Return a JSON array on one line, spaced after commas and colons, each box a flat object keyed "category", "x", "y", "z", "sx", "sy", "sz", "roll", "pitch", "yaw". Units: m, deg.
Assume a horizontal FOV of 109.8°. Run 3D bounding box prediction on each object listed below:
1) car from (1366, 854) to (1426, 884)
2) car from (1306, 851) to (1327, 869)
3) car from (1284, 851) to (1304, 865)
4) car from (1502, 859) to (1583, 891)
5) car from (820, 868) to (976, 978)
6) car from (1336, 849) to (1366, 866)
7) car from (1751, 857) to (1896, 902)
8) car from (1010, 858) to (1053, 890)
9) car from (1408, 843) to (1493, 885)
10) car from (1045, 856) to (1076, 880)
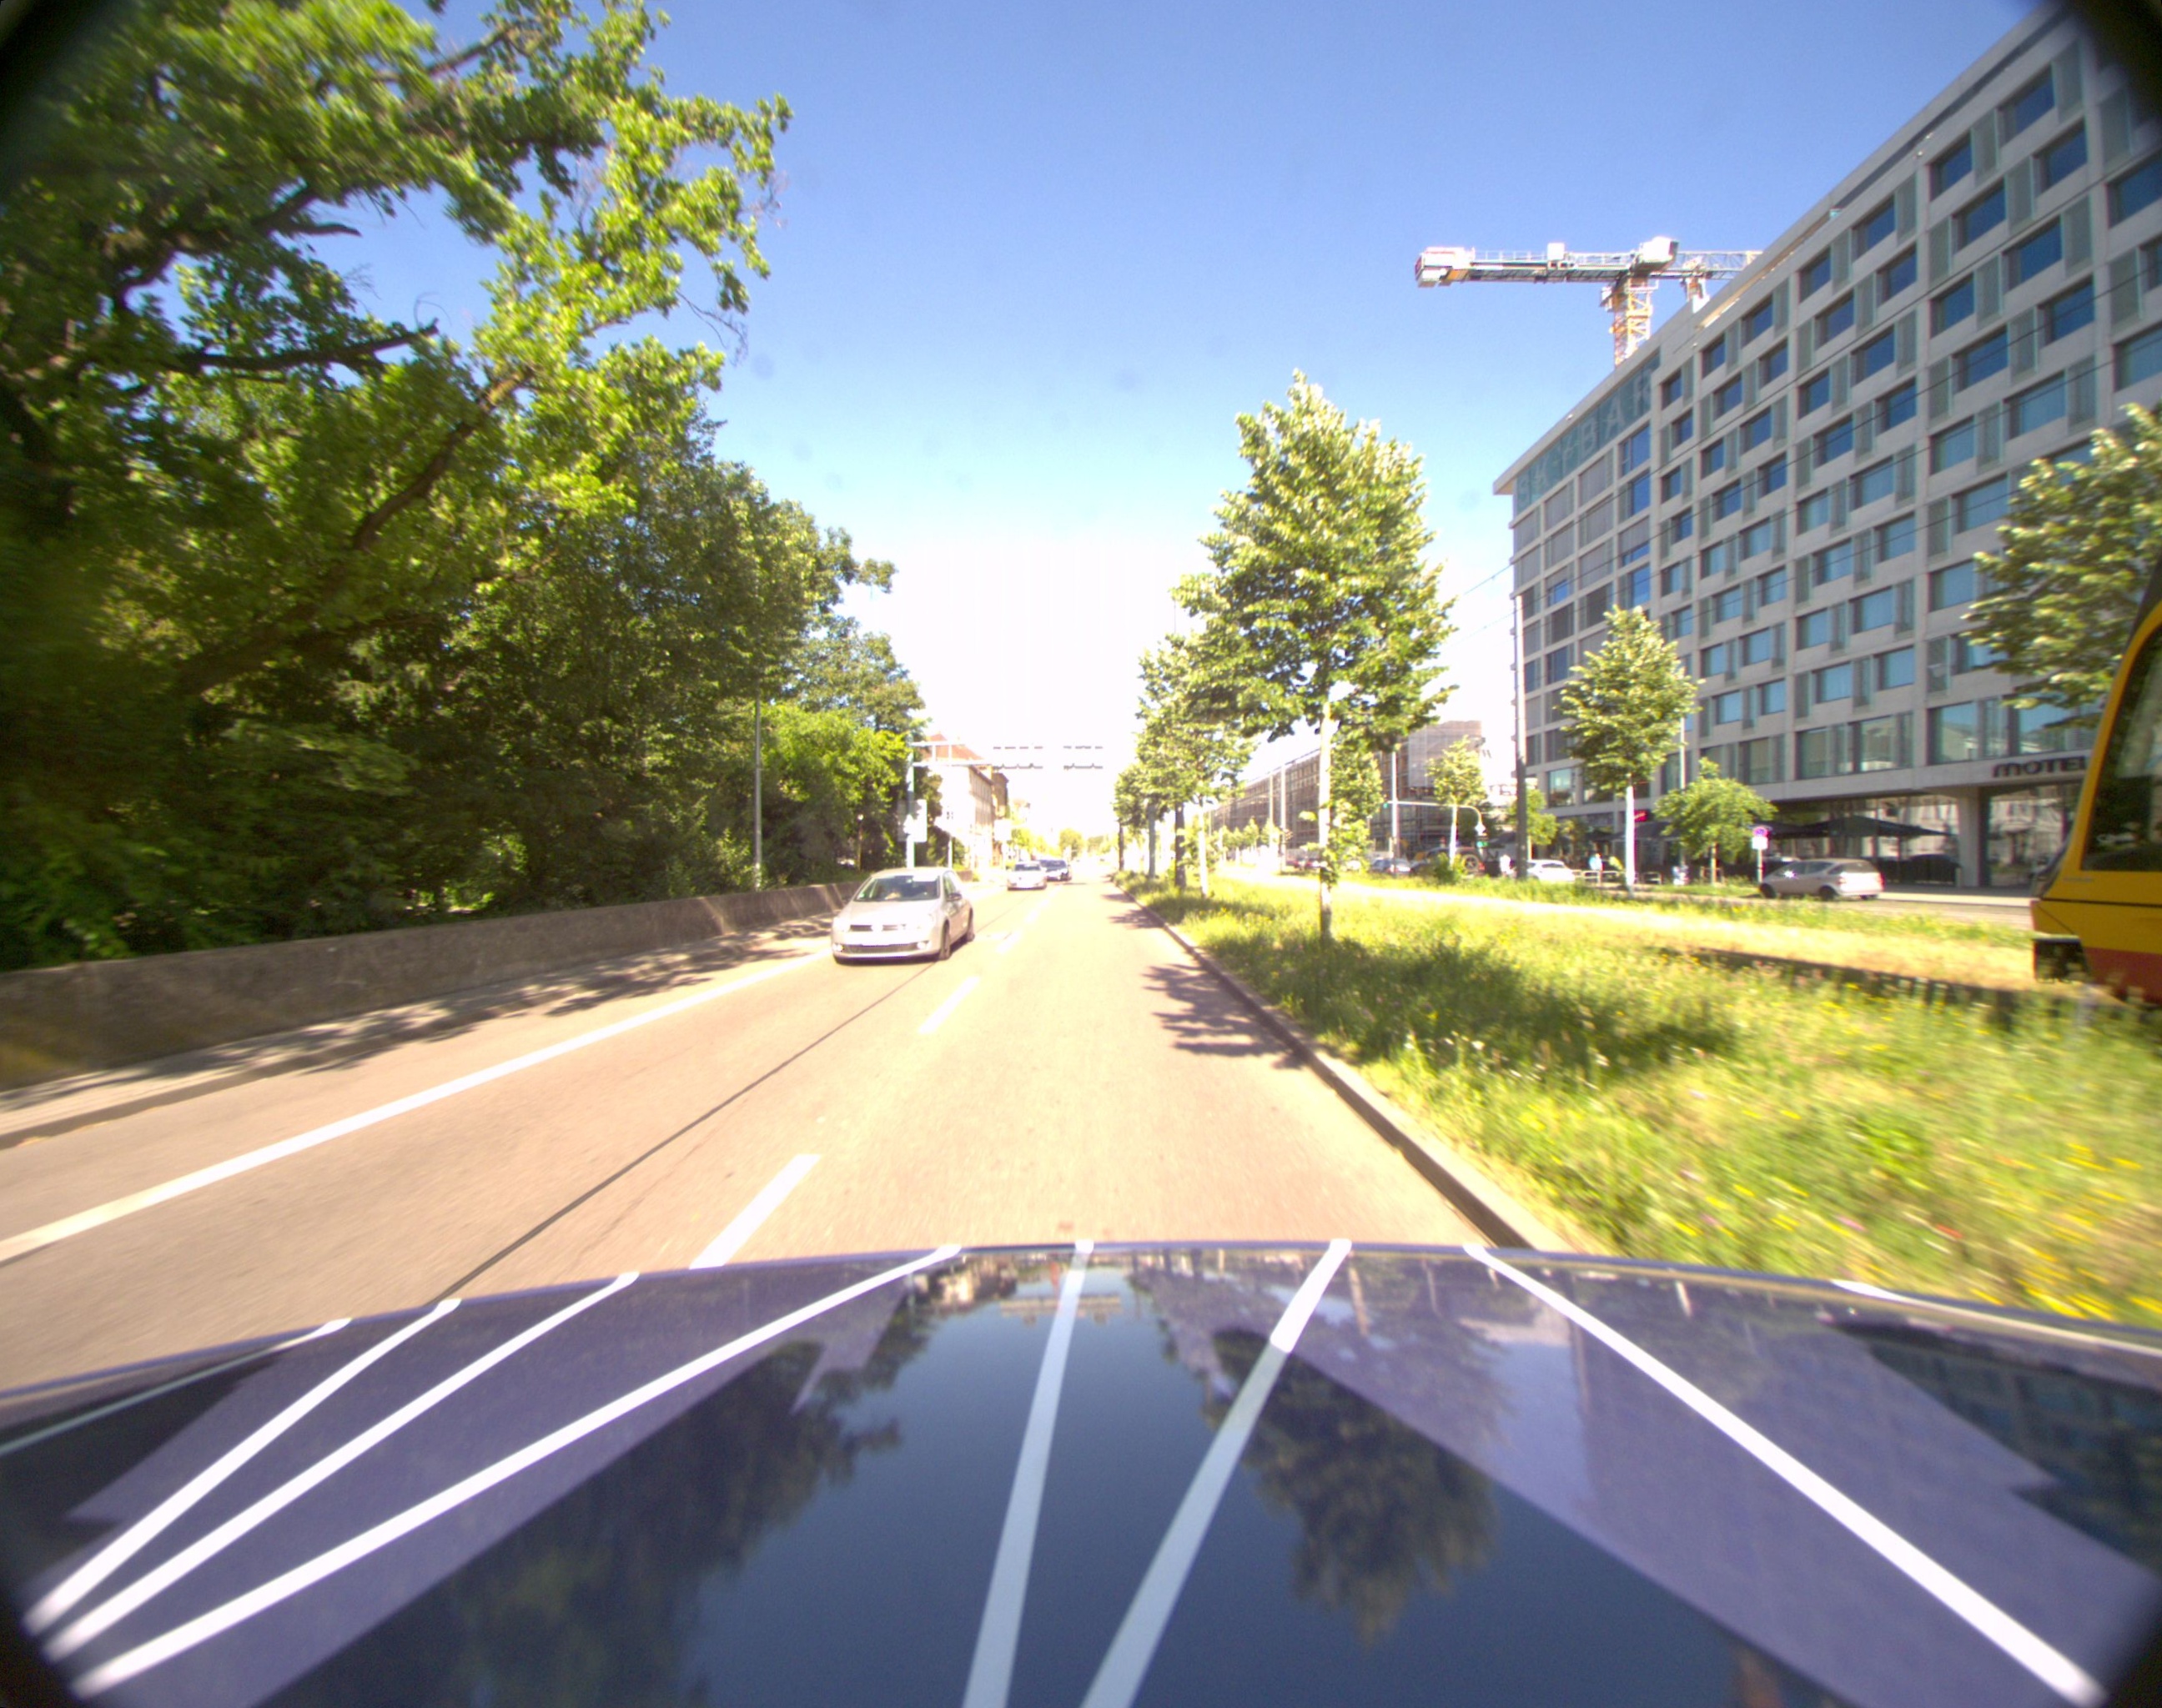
[{"category": "car", "x": 17.638, "y": 0.801, "z": 42.777, "sx": 1.730, "sy": 1.543, "sz": 4.000, "roll": -2, "pitch": 0, "yaw": 0}, {"category": "car", "x": 23.425, "y": 0.535, "z": 75.607, "sx": 1.776, "sy": 1.664, "sz": 3.893, "roll": -2, "pitch": 0, "yaw": 14}, {"category": "car", "x": 26.134, "y": 0.491, "z": 93.333, "sx": 1.888, "sy": 1.565, "sz": 4.002, "roll": -2, "pitch": 0, "yaw": 8}, {"category": "car", "x": 23.661, "y": 1.035, "z": 39.125, "sx": 1.827, "sy": 1.499, "sz": 3.813, "roll": -2, "pitch": 0, "yaw": 0}, {"category": "car", "x": -2.947, "y": 1.045, "z": 13.109, "sx": 1.703, "sy": 1.466, "sz": 3.999, "roll": -2, "pitch": 0, "yaw": 0}, {"category": "car", "x": 26.095, "y": 0.315, "z": 73.574, "sx": 1.742, "sy": 1.537, "sz": 4.001, "roll": -2, "pitch": 0, "yaw": 4}, {"category": "car", "x": 28.426, "y": 0.927, "z": 29.270, "sx": 1.865, "sy": 1.541, "sz": 3.772, "roll": -2, "pitch": 0, "yaw": 0}, {"category": "car", "x": -2.429, "y": 0.982, "z": 38.134, "sx": 1.839, "sy": 1.415, "sz": 3.999, "roll": -2, "pitch": 0, "yaw": 0}, {"category": "car", "x": 17.358, "y": 0.452, "z": 35.937, "sx": 1.998, "sy": 1.808, "sz": 4.285, "roll": -2, "pitch": 0, "yaw": 1}, {"category": "car", "x": -1.404, "y": 0.919, "z": 51.574, "sx": 1.999, "sy": 1.493, "sz": 3.999, "roll": 0, "pitch": 0, "yaw": -2}]
